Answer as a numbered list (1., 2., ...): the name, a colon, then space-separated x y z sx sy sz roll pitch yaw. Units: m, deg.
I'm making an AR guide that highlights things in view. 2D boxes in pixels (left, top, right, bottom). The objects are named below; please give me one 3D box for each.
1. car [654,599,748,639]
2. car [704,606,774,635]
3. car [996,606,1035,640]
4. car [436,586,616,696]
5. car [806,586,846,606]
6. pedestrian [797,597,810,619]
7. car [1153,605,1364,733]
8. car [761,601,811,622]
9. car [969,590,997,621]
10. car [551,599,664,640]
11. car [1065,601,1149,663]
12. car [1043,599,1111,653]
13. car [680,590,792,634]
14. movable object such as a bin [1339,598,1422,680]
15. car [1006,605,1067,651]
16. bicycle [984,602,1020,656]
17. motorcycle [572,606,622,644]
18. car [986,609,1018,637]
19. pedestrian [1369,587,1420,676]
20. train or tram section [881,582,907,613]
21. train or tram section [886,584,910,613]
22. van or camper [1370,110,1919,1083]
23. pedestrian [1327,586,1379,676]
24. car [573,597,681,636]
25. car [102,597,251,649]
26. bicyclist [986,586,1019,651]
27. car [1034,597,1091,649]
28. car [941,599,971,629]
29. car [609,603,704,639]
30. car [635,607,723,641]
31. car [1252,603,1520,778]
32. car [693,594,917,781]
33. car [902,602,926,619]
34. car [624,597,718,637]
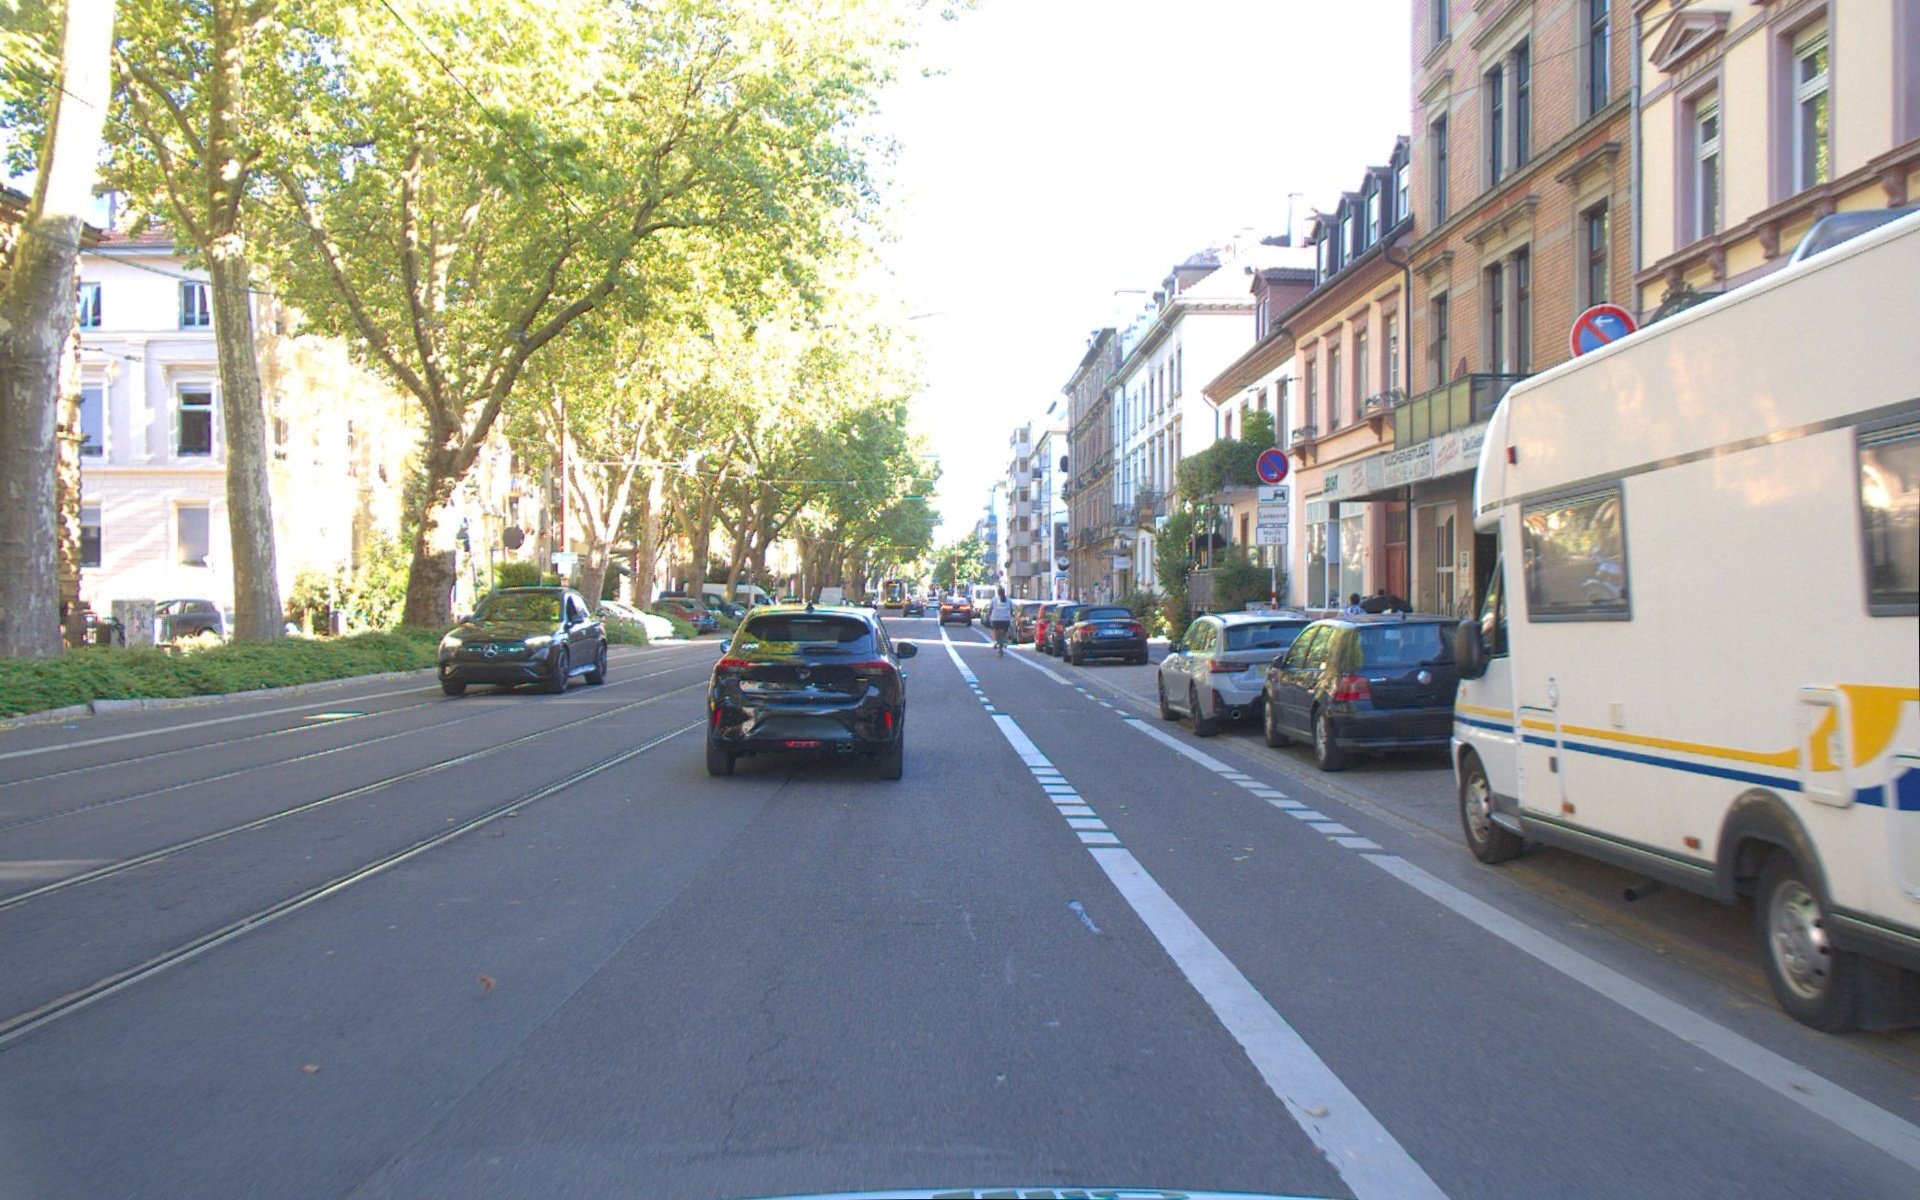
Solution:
1. car: -13.624 1.000 87.296 4.579 1.957 1.980 2 -1 0
2. car: -12.929 1.209 96.986 3.839 1.524 1.677 2 -1 0
3. car: 2.630 1.110 79.224 1.676 1.509 3.763 -3 -1 0
4. car: -6.981 0.600 27.104 1.829 1.658 4.559 0 0 -1
5. car: -13.269 -0.396 163.866 3.842 1.821 1.676 2 -1 -4
6. pedestrian: -11.438 0.609 121.177 0.757 1.594 0.675 1 -1 -25
7. car: 3.720 0.818 21.439 1.773 1.460 4.663 -1 -1 -1
8. car: -14.028 0.925 133.395 3.842 1.524 1.676 2 -1 -4
9. car: 1.806 0.450 130.540 2.033 2.258 4.933 -3 -1 0
10. car: -13.179 0.716 61.952 3.842 1.478 1.799 1 -1 -1
11. car: 3.556 0.760 40.641 1.659 1.417 4.494 -1 -1 0
12. car: 3.351 0.749 47.999 1.617 1.482 3.867 -1 -1 -1
13. car: -13.831 0.762 102.392 6.493 2.451 2.457 2 -1 -1
14. movable object such as a bin: 8.224 0.749 32.379 1.267 1.547 1.286 1 -1 -1
15. car: 2.932 1.064 63.846 1.843 1.613 3.929 -3 -1 -4
16. bicycle: 1.152 0.797 45.929 0.843 1.432 2.523 1 -1 -2
17. motorcycle: -11.796 0.801 53.830 0.865 1.167 2.392 1 0 7
18. car: 2.356 1.282 92.945 1.669 1.481 3.698 -3 -1 2
19. pedestrian: 7.490 0.534 28.534 0.644 1.509 0.785 1 -1 -2
20. train or tram section: -8.358 -0.269 210.031 2.678 3.746 12.715 0 -1 0
21. train or tram section: -8.353 -0.130 222.696 2.678 3.746 12.715 0 -1 0
22. van or camper: 4.209 -0.016 7.921 2.427 3.024 7.883 -3 -1 0
23. pedestrian: 6.771 0.531 28.501 0.647 1.531 0.866 -1 -1 -2
24. car: -13.005 0.645 64.683 3.840 1.488 1.805 0 -1 -1
25. car: -23.886 0.688 50.498 3.699 1.443 1.694 0 2 -1
26. bicyclist: 1.165 0.515 45.963 0.831 1.771 1.161 1 -1 -2
27. car: 3.223 0.709 52.501 1.601 1.574 3.575 -1 -1 0
28. car: -0.235 0.867 101.390 1.772 1.773 3.933 0 -1 0
29. car: -13.401 0.936 73.284 3.840 1.467 1.748 2 -1 -1
30. car: -13.196 1.130 77.876 3.841 1.446 1.817 2 -1 -3
31. car: 4.123 0.818 16.641 1.611 1.459 4.029 -3 -1 0
32. car: -1.291 0.701 15.059 1.757 1.466 3.530 1 0 -1
33. car: -3.688 0.852 133.980 1.772 1.362 3.933 1 -1 0
34. car: -13.140 0.785 75.477 3.914 1.655 1.879 2 -1 -1
